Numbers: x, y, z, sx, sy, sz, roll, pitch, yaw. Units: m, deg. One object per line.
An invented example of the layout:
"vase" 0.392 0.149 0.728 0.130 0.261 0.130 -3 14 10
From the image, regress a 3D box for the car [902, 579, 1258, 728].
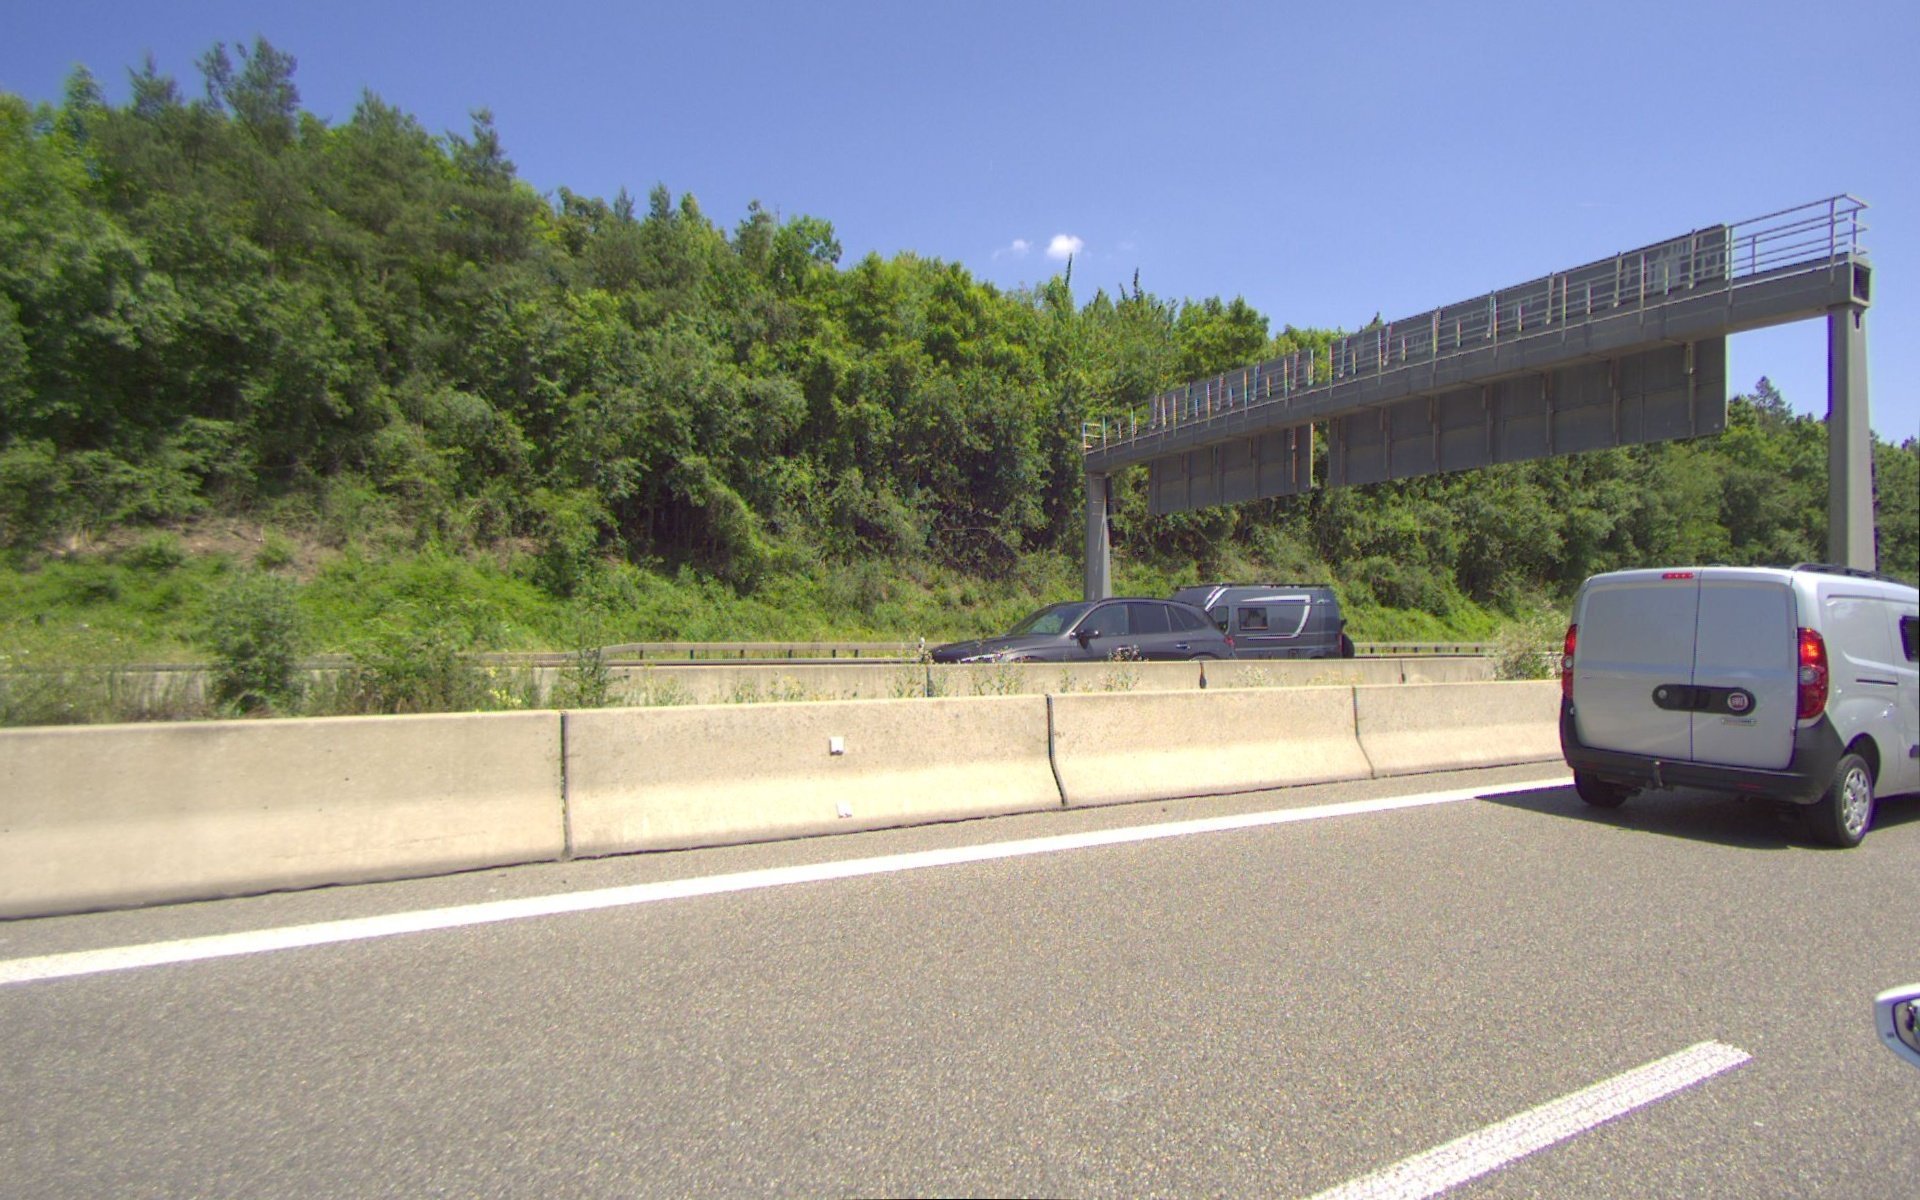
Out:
"car" 1.666 0.701 13.520 4.462 1.714 1.983 3 -1 -31

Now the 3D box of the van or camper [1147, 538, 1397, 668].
"van or camper" 7.979 0.174 25.406 6.577 2.896 2.143 3 -1 -31

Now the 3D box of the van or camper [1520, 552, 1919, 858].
"van or camper" 6.799 0.689 8.197 4.507 1.905 1.844 1 0 -30

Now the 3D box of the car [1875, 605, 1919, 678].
"car" 29.218 1.209 29.430 5.321 2.040 1.985 1 0 -29

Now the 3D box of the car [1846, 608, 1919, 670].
"car" 33.421 1.354 35.420 4.220 2.040 1.985 1 -1 -29
